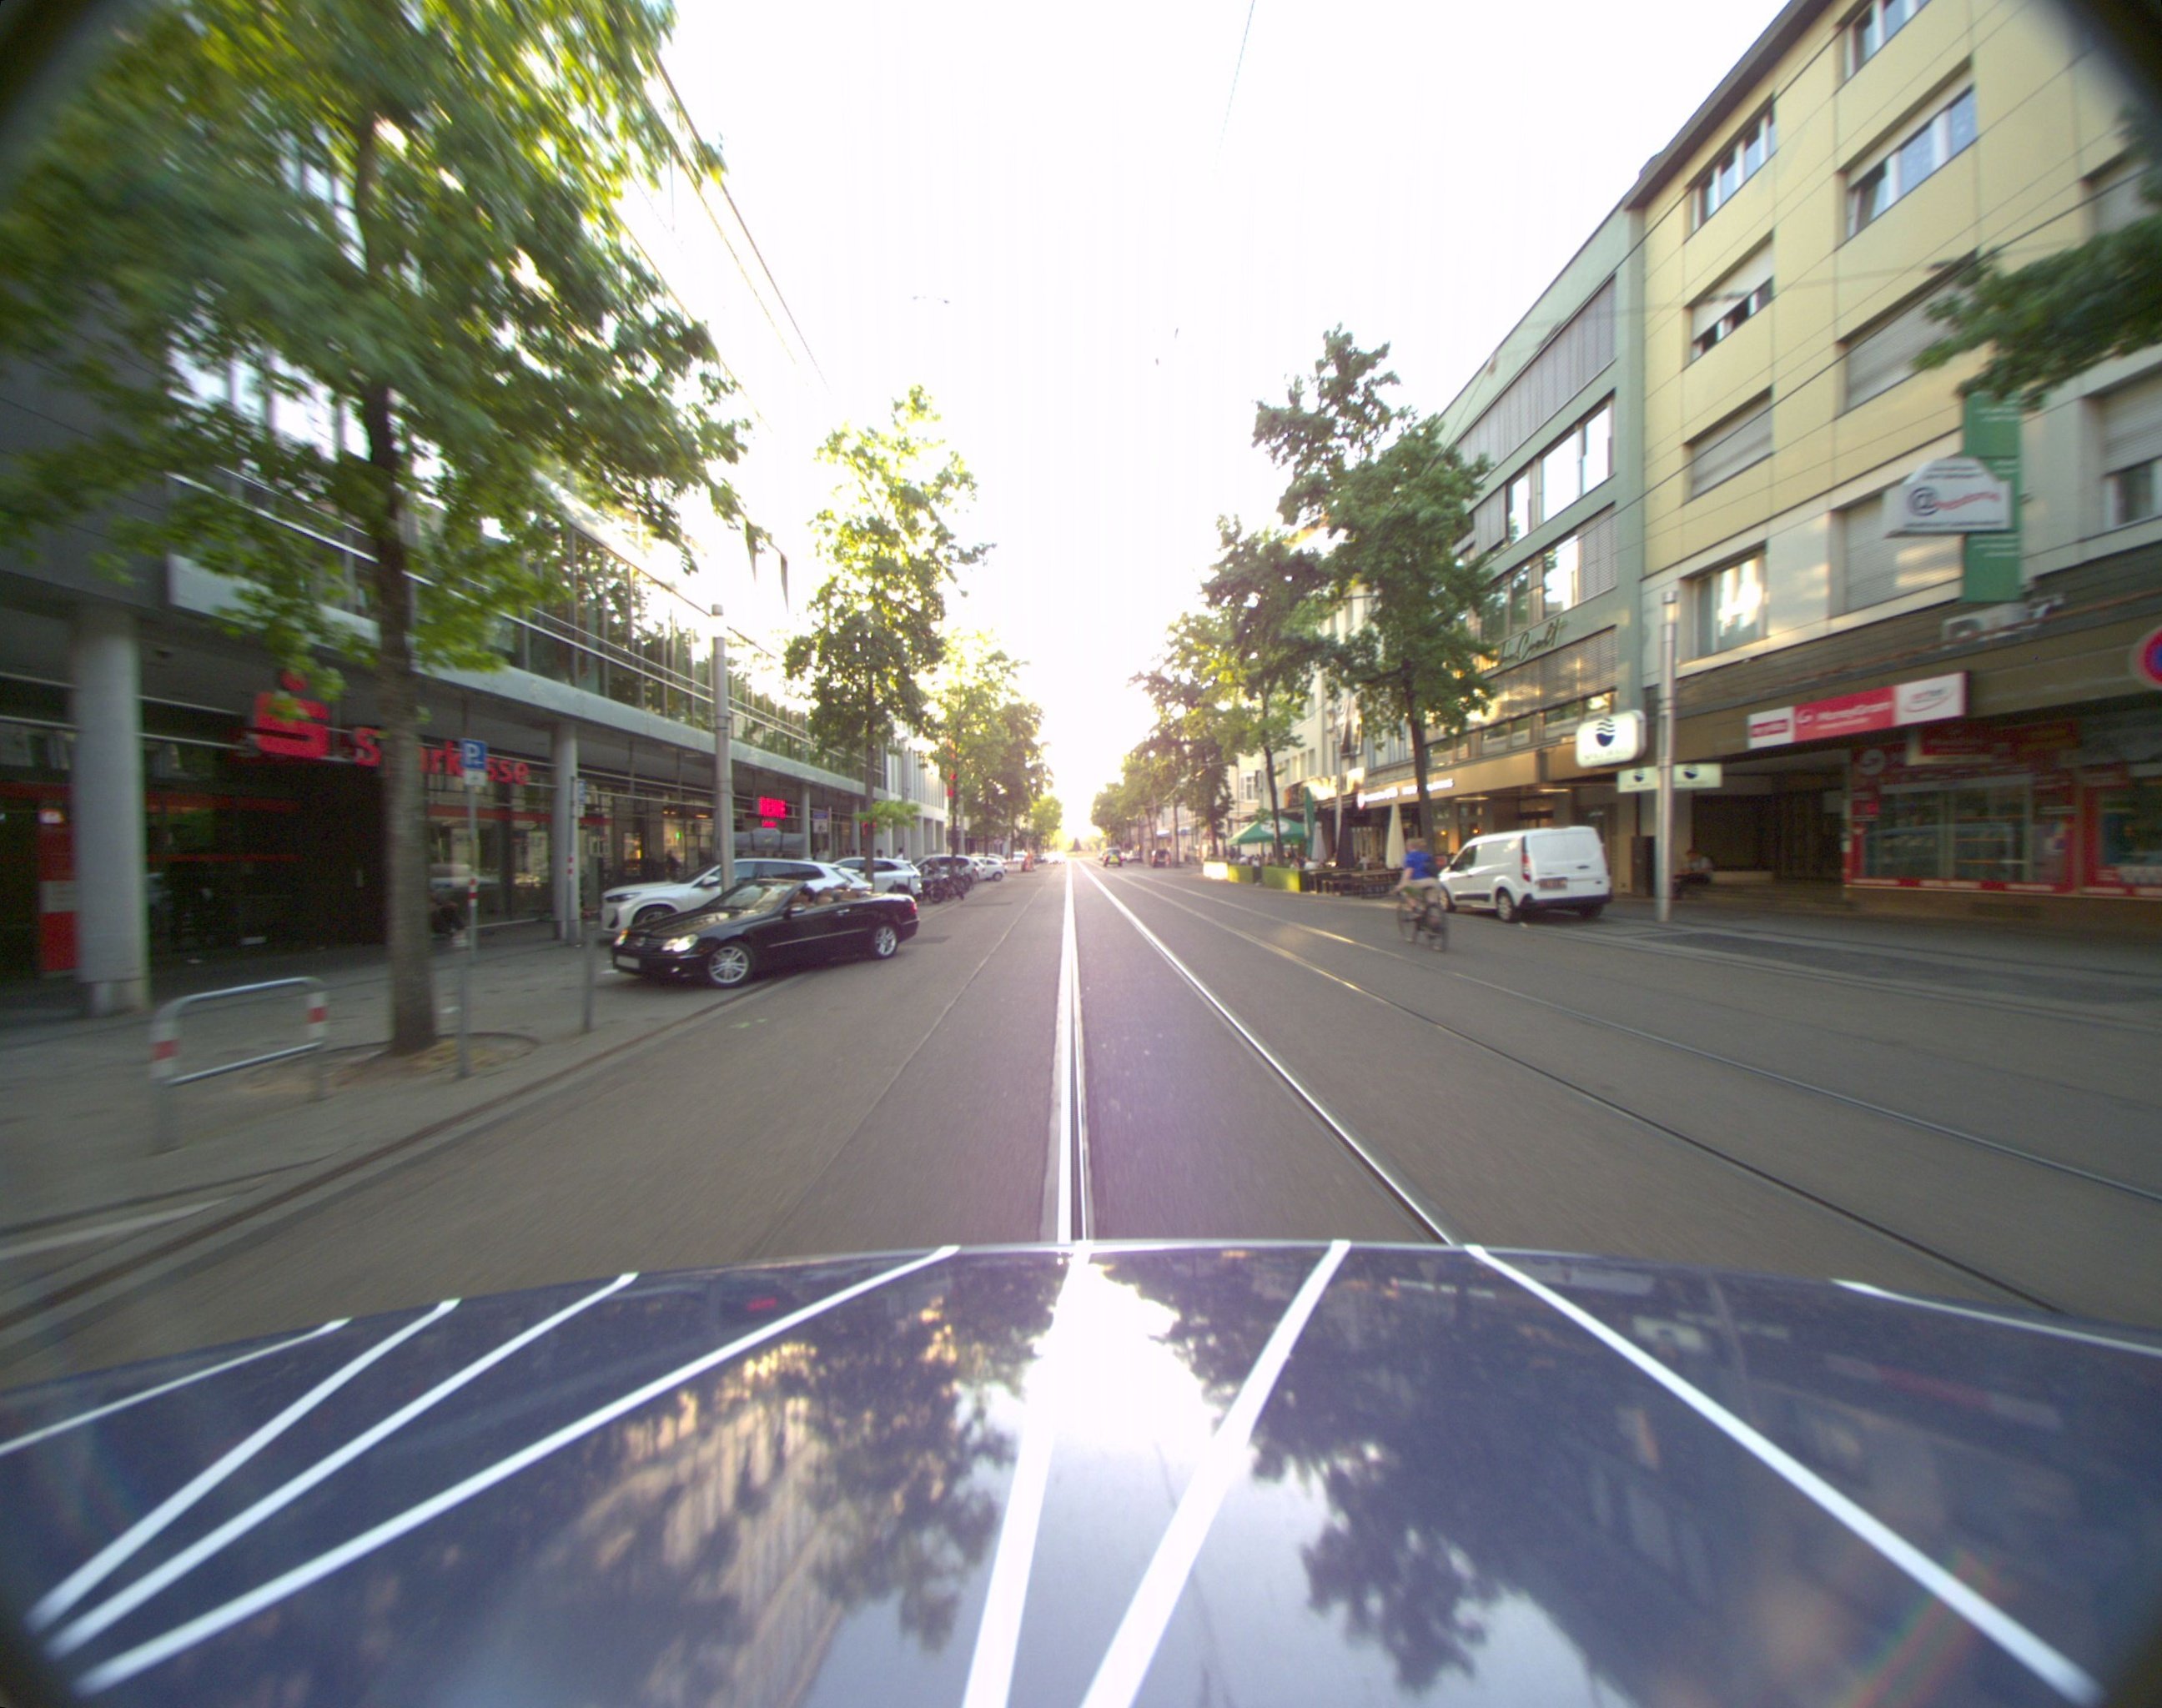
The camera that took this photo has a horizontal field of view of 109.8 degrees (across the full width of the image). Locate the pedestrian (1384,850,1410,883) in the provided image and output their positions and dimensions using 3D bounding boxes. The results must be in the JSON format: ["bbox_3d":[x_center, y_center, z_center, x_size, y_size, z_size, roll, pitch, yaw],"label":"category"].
[{"bbox_3d":[12.801,0.503,30.810,0.701,1.308,0.786,-1,1,-5],"label":"pedestrian"}]

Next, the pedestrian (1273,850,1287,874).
[{"bbox_3d":[12.447,0.480,47.452,0.650,1.451,0.650,-1,1,-3],"label":"pedestrian"}]

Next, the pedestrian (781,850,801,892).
[{"bbox_3d":[-11.765,0.686,30.837,0.558,1.681,0.628,0,1,0],"label":"pedestrian"}]

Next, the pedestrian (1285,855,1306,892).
[{"bbox_3d":[8.541,0.761,30.257,0.649,1.451,0.650,-1,1,0],"label":"pedestrian"}]

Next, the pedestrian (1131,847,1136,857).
[{"bbox_3d":[7.536,-0.283,108.347,0.650,1.451,0.650,-1,1,-2],"label":"pedestrian"}]

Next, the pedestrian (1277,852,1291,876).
[{"bbox_3d":[12.436,0.635,46.519,0.650,1.451,0.650,-1,1,-3],"label":"pedestrian"}]

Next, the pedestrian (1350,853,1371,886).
[{"bbox_3d":[12.274,0.677,33.381,0.650,1.451,0.650,-1,1,-2],"label":"pedestrian"}]

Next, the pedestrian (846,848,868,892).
[{"bbox_3d":[-8.617,0.617,29.243,0.618,1.681,0.628,0,1,0],"label":"pedestrian"}]

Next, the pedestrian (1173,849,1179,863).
[{"bbox_3d":[10.113,0.186,80.724,0.490,1.451,0.543,-1,1,-2],"label":"pedestrian"}]

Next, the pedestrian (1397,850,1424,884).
[{"bbox_3d":[12.941,0.513,29.850,0.701,1.308,0.786,-1,1,-5],"label":"pedestrian"}]

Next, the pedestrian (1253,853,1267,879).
[{"bbox_3d":[9.524,0.617,40.418,0.649,1.378,0.650,-1,1,6],"label":"pedestrian"}]

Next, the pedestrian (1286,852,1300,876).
[{"bbox_3d":[13.008,0.617,46.630,0.650,1.451,0.650,-1,1,-3],"label":"pedestrian"}]

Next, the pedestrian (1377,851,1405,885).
[{"bbox_3d":[12.185,0.535,29.882,0.701,1.308,0.786,-1,1,-5],"label":"pedestrian"}]

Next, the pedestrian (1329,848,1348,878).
[{"bbox_3d":[12.886,0.446,38.026,0.650,1.451,0.650,-1,1,-3],"label":"pedestrian"}]

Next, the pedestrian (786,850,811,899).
[{"bbox_3d":[-9.752,0.696,26.230,0.618,1.681,0.628,0,1,0],"label":"pedestrian"}]

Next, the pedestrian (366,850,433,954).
[{"bbox_3d":[-11.846,0.819,13.226,0.558,1.762,0.628,0,1,0],"label":"pedestrian"}]

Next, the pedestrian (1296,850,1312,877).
[{"bbox_3d":[12.466,0.530,42.538,0.650,1.451,0.650,-1,1,-3],"label":"pedestrian"}]

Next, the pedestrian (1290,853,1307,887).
[{"bbox_3d":[9.493,0.688,33.226,0.649,1.451,0.651,-1,1,13],"label":"pedestrian"}]

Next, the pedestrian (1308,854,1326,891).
[{"bbox_3d":[9.338,0.739,30.106,0.649,1.451,0.651,-1,1,17],"label":"pedestrian"}]

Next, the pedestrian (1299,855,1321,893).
[{"bbox_3d":[8.835,0.766,29.318,0.648,1.451,0.651,0,1,29],"label":"pedestrian"}]

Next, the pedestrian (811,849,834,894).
[{"bbox_3d":[-9.851,0.658,28.957,0.618,1.681,0.628,0,1,0],"label":"pedestrian"}]

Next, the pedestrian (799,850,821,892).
[{"bbox_3d":[-10.995,0.663,30.837,0.618,1.681,0.628,0,1,0],"label":"pedestrian"}]

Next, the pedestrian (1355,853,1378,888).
[{"bbox_3d":[12.189,0.694,32.425,0.650,1.451,0.649,-1,1,-9],"label":"pedestrian"}]

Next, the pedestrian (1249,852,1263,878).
[{"bbox_3d":[9.573,0.598,41.630,0.649,1.378,0.650,-1,1,6],"label":"pedestrian"}]

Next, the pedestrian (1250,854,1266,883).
[{"bbox_3d":[8.497,0.705,36.549,0.649,1.378,0.650,-1,1,6],"label":"pedestrian"}]

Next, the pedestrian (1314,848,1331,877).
[{"bbox_3d":[12.367,0.448,38.938,0.650,1.451,0.650,-1,1,-3],"label":"pedestrian"}]

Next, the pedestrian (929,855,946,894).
[{"bbox_3d":[-6.205,0.878,32.932,0.618,1.681,0.627,-1,1,-5],"label":"pedestrian"}]

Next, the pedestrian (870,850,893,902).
[{"bbox_3d":[-6.955,0.754,26.522,0.618,1.789,0.628,0,1,0],"label":"pedestrian"}]

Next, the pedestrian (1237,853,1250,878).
[{"bbox_3d":[8.923,0.616,41.684,0.649,1.378,0.650,-1,1,6],"label":"pedestrian"}]

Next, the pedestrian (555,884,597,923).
[{"bbox_3d":[-12.107,1.181,18.234,0.627,0.876,0.558,0,1,-1],"label":"pedestrian"}]

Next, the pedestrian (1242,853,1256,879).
[{"bbox_3d":[8.931,0.634,40.443,0.649,1.378,0.650,-1,1,6],"label":"pedestrian"}]

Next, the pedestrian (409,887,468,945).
[{"bbox_3d":[-12.056,1.157,14.274,0.628,1.030,0.557,0,1,-9],"label":"pedestrian"}]
